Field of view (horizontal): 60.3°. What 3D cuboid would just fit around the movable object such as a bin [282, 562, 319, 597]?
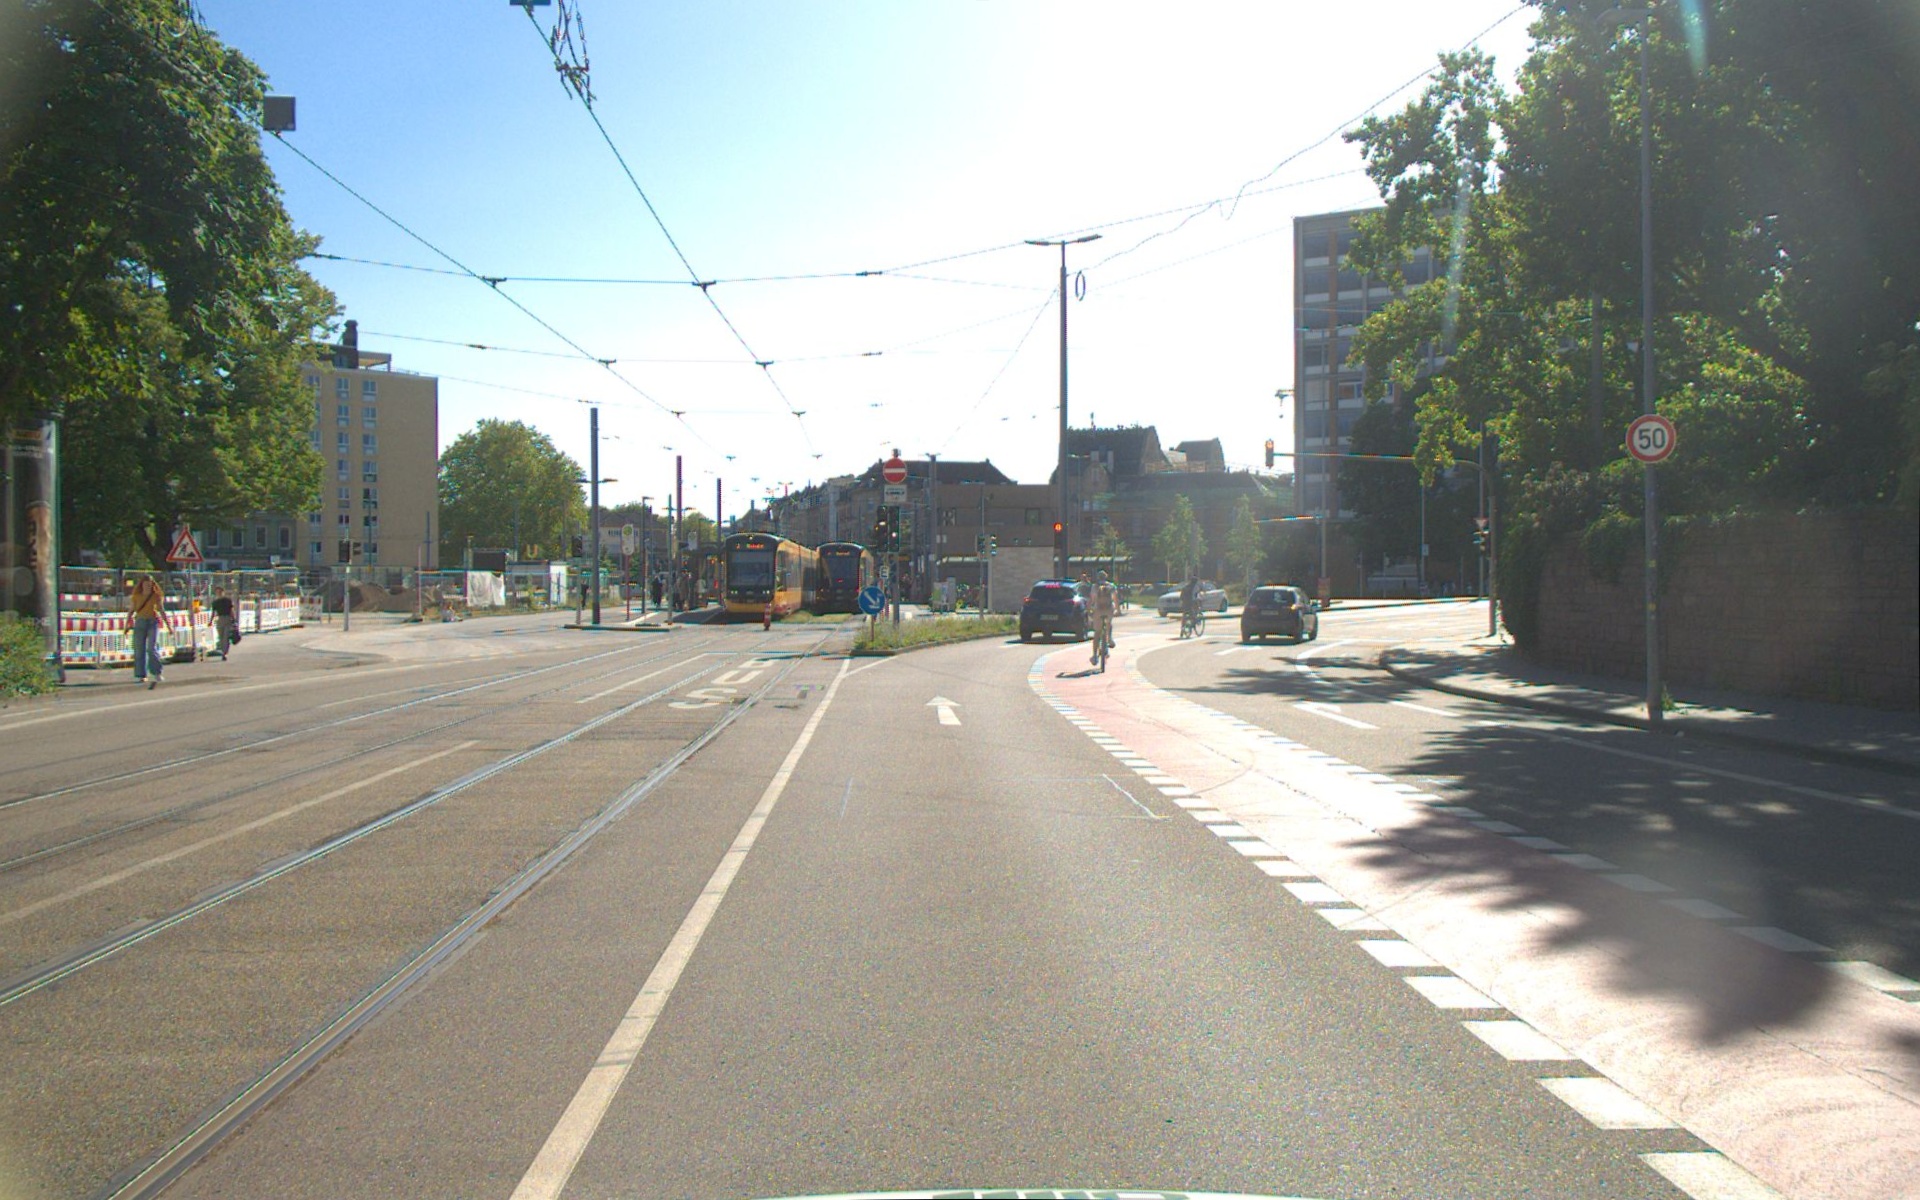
[{"bbox_3d":[-40.431,-1.261,101.384,1.893,2.049,3.969,-1,1,-25],"label":"movable object such as a bin"}]

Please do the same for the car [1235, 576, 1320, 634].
[{"bbox_3d":[8.999,0.111,46.628,1.752,1.537,3.713,1,1,20],"label":"car"}]

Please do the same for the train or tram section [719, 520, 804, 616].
[{"bbox_3d":[-8.362,-1.395,71.321,2.687,3.715,13.778,0,1,-3],"label":"train or tram section"}]

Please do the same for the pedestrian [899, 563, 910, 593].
[{"bbox_3d":[-3.770,-1.500,112.112,0.649,1.987,0.626,0,0,-14],"label":"pedestrian"}]

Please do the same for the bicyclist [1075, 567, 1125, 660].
[{"bbox_3d":[2.651,0.232,31.214,0.690,1.704,1.102,2,1,17],"label":"bicyclist"}]

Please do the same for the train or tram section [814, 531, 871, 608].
[{"bbox_3d":[-6.076,-1.635,87.027,2.687,3.715,13.778,0,1,-3],"label":"train or tram section"}]

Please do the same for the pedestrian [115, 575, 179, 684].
[{"bbox_3d":[-13.229,0.462,26.921,0.623,1.726,0.818,-2,0,-5],"label":"pedestrian"}]

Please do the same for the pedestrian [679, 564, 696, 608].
[{"bbox_3d":[-11.526,-0.597,69.935,0.614,1.859,0.662,0,0,-3],"label":"pedestrian"}]

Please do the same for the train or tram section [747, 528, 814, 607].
[{"bbox_3d":[-9.053,-1.646,84.465,2.687,3.715,12.537,0,1,-3],"label":"train or tram section"}]

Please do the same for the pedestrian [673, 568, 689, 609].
[{"bbox_3d":[-12.633,-0.512,74.862,0.614,1.859,0.662,0,0,-3],"label":"pedestrian"}]

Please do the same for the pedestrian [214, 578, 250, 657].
[{"bbox_3d":[-16.100,0.374,36.579,0.608,1.726,0.676,0,0,-15],"label":"pedestrian"}]

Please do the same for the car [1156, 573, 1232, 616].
[{"bbox_3d":[9.594,-0.248,67.682,1.671,1.672,3.703,1,1,32],"label":"car"}]

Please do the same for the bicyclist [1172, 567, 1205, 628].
[{"bbox_3d":[6.625,-0.088,47.914,0.690,1.730,0.987,2,2,22],"label":"bicyclist"}]

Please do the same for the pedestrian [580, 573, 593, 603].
[{"bbox_3d":[-21.902,-0.716,96.974,0.614,1.727,0.662,0,0,-3],"label":"pedestrian"}]

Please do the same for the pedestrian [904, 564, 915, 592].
[{"bbox_3d":[-3.492,-1.518,114.144,0.649,1.987,0.626,0,0,-14],"label":"pedestrian"}]

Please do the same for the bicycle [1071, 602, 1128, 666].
[{"bbox_3d":[2.641,0.633,31.214,0.690,1.124,1.718,2,1,17],"label":"bicycle"}]

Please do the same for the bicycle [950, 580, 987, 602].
[{"bbox_3d":[0.454,-0.474,87.892,1.896,1.122,0.598,0,1,-5],"label":"bicycle"}]

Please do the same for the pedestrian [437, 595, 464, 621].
[{"bbox_3d":[-21.095,0.318,68.487,0.879,1.064,0.655,0,0,-2],"label":"pedestrian"}]

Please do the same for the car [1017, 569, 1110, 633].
[{"bbox_3d":[2.858,-0.002,45.164,1.751,1.632,3.715,1,1,16],"label":"car"}]

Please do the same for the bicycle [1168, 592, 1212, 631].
[{"bbox_3d":[6.695,0.320,48.121,0.690,1.073,2.313,2,2,22],"label":"bicycle"}]

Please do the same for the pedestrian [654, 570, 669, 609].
[{"bbox_3d":[-14.380,-0.487,79.629,0.614,1.859,0.662,0,0,-3],"label":"pedestrian"}]
